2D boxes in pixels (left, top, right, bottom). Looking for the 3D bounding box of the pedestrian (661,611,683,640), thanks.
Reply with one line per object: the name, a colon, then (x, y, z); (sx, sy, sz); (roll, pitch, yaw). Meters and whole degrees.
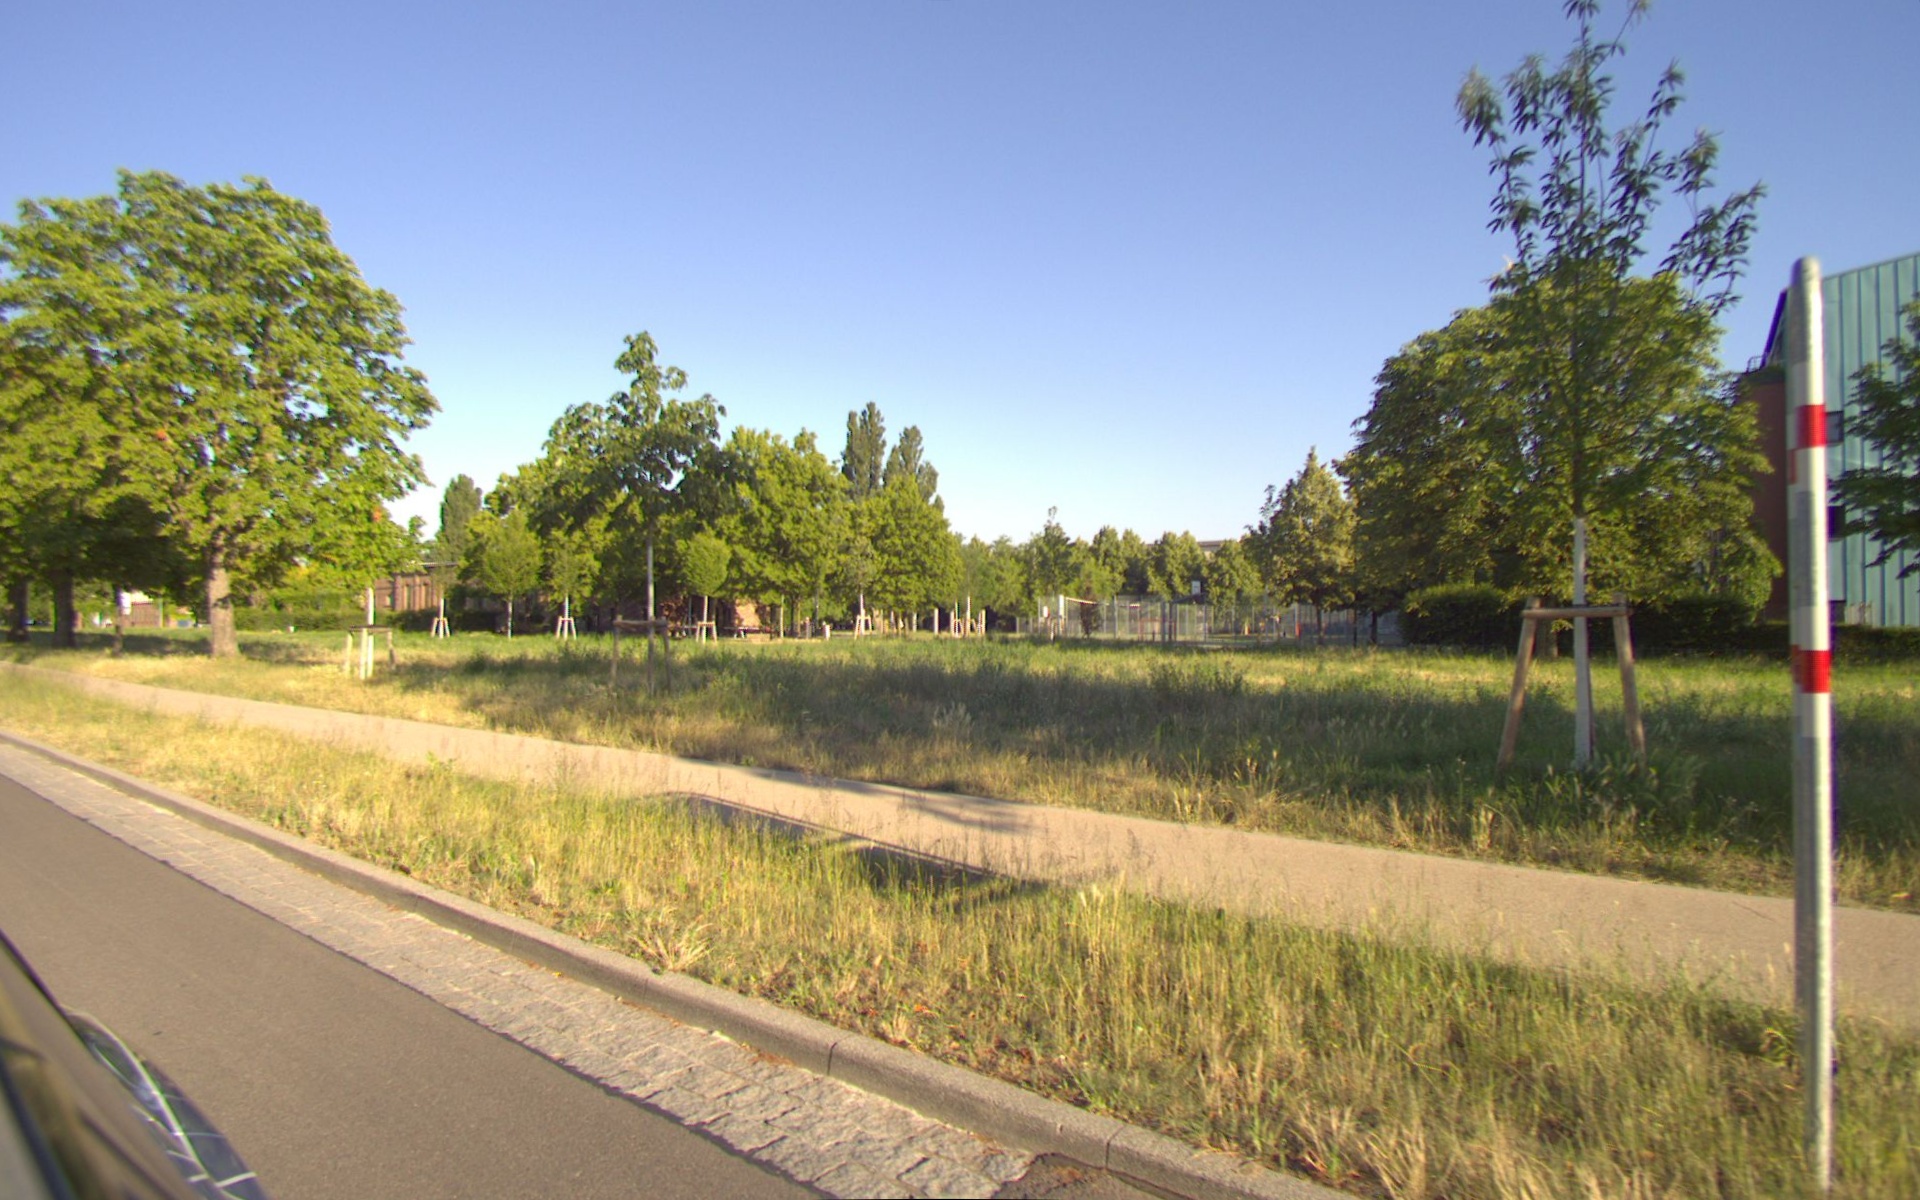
pedestrian: (-19.080, 1.672, 67.027); (1.099, 1.877, 0.984); (1, -2, -44)
